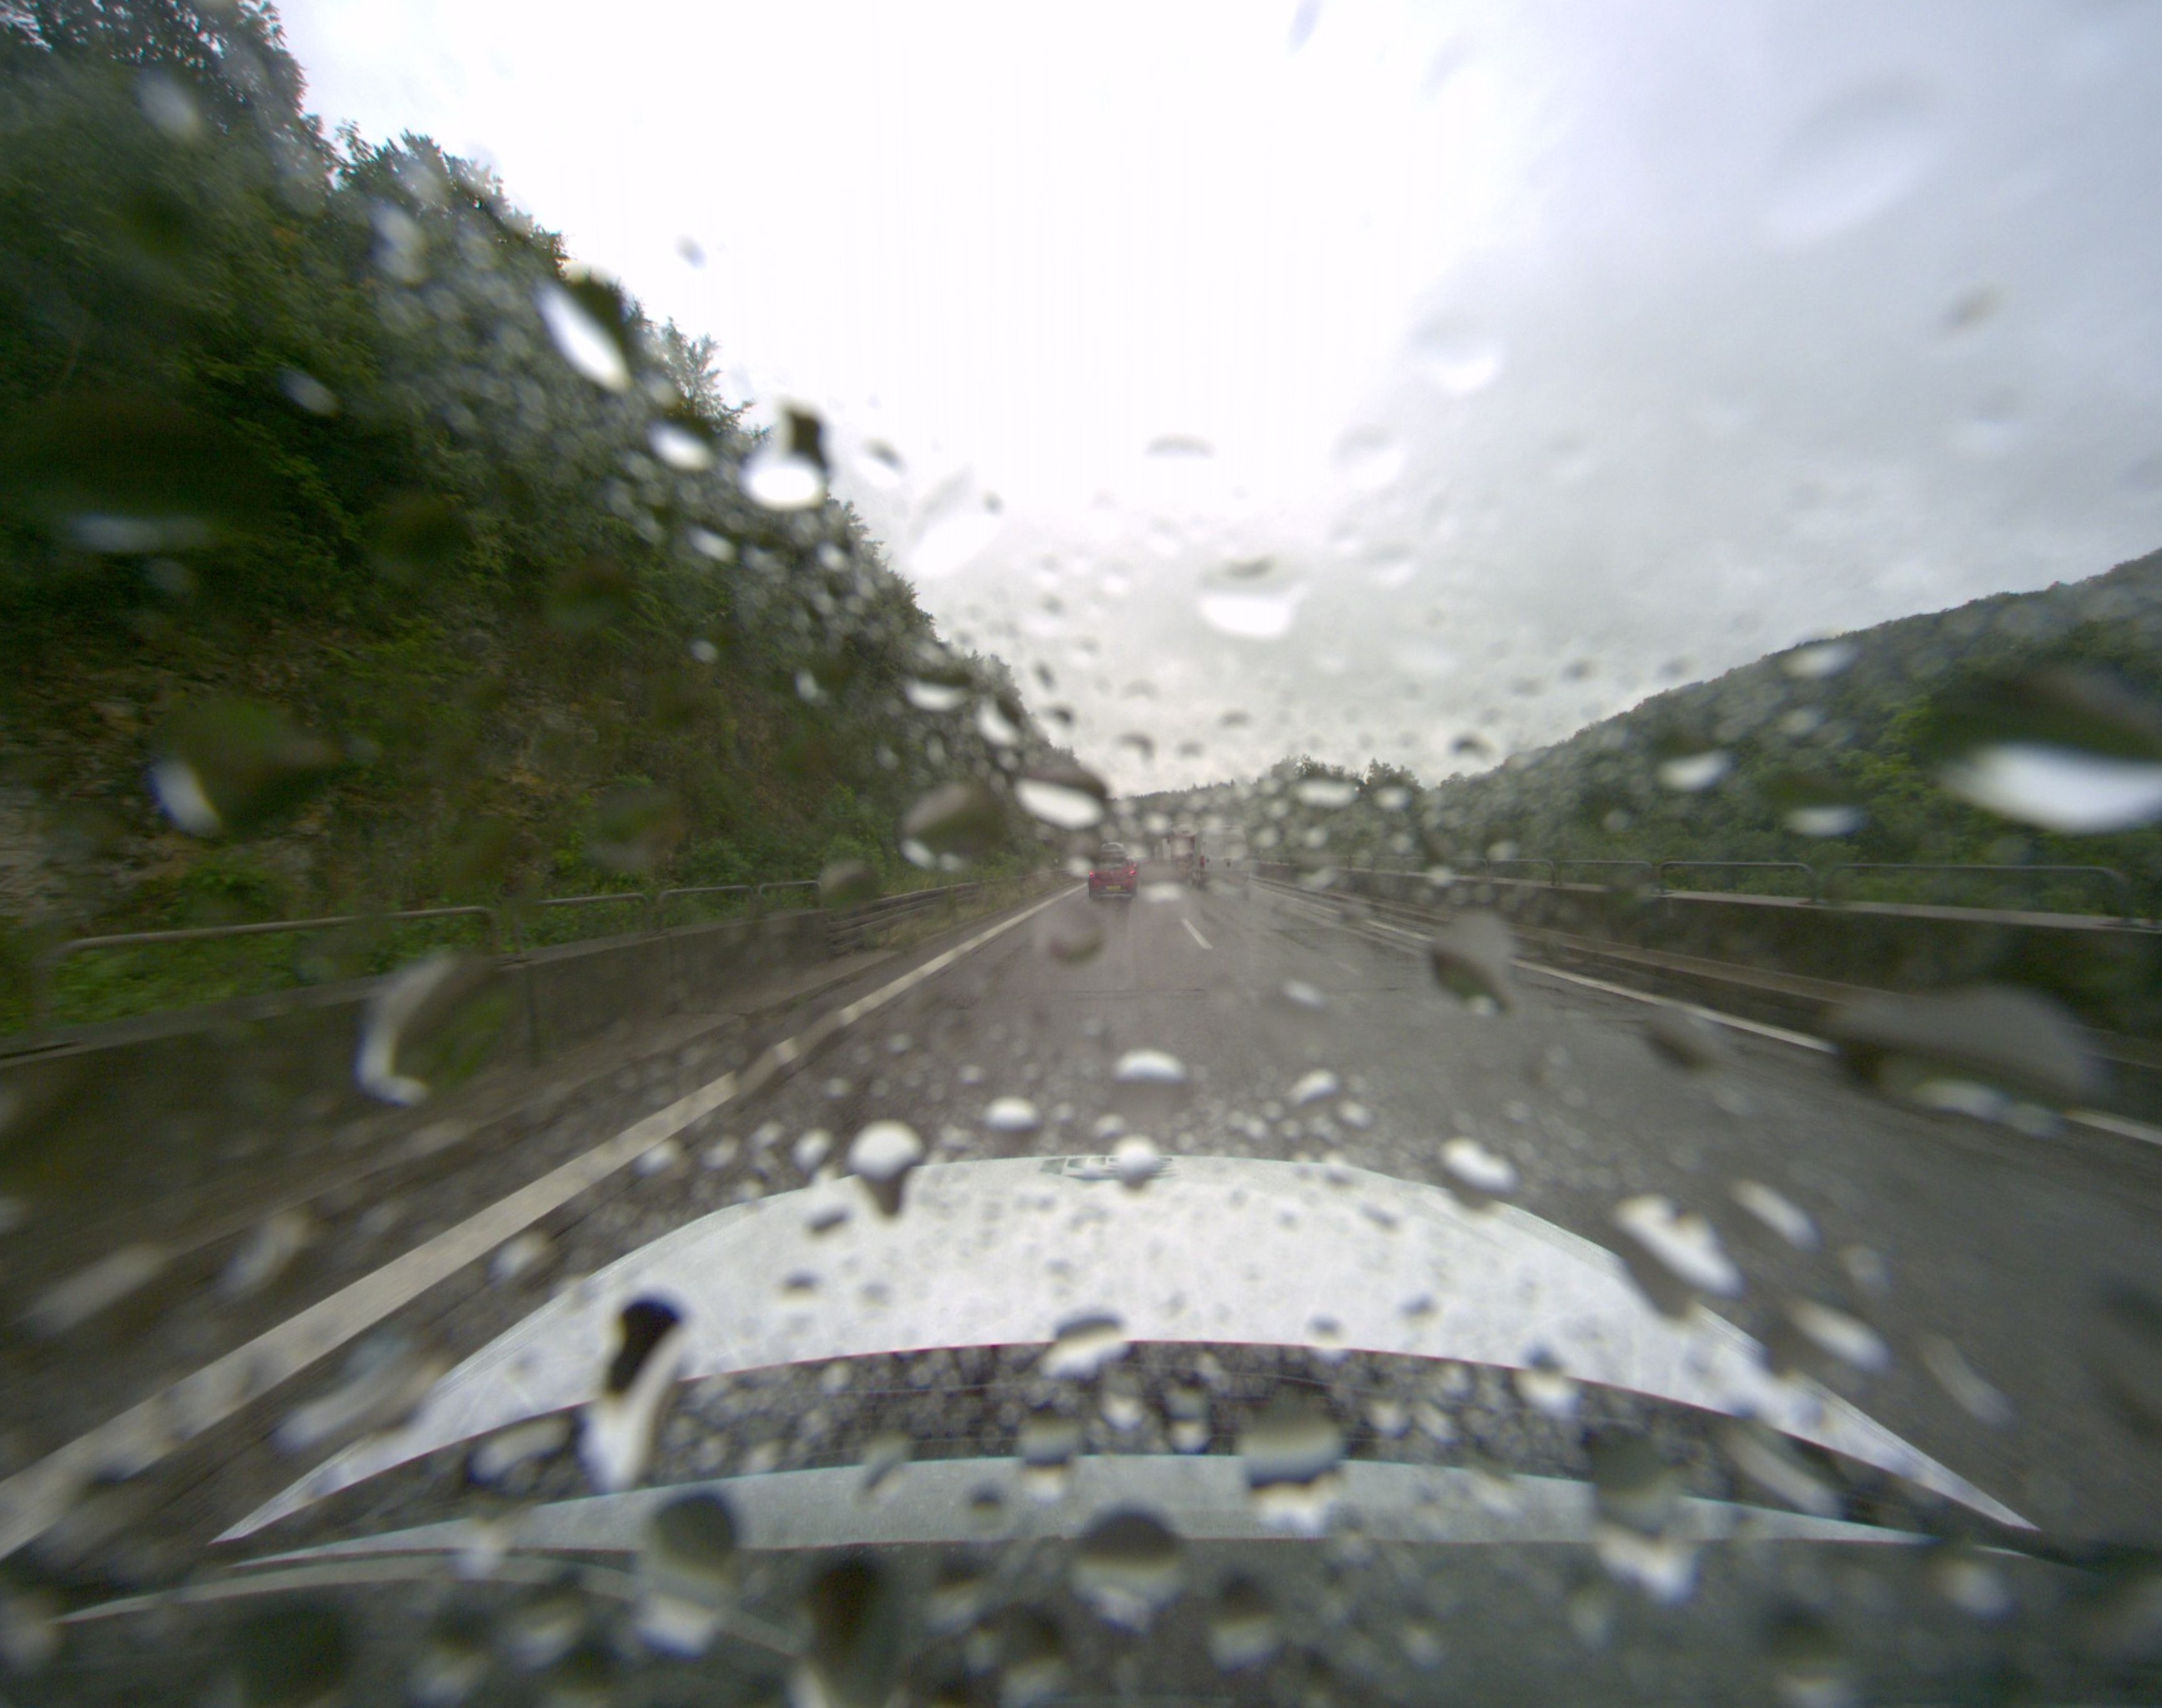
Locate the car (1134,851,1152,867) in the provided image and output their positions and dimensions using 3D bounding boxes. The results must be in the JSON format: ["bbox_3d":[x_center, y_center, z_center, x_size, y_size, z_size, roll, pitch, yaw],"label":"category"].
[{"bbox_3d":[6.998,0.561,91.771,1.867,1.706,3.892,-5,-1,3],"label":"car"}]

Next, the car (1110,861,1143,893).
[{"bbox_3d":[2.756,1.371,49.776,1.825,1.715,3.647,-5,-1,2],"label":"car"}]

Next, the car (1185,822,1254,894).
[{"bbox_3d":[5.938,0.169,35.826,2.196,2.794,7.390,-2,0,4],"label":"car"}]

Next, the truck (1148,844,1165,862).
[{"bbox_3d":[14.522,-0.250,156.389,3.048,3.312,8.079,-1,0,4],"label":"truck"}]

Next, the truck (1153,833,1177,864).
[{"bbox_3d":[12.246,-0.716,119.381,2.676,4.094,9.322,-5,-1,3],"label":"truck"}]

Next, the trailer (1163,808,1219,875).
[{"bbox_3d":[7.468,-0.761,56.796,3.202,3.998,13.546,-3,0,6],"label":"trailer"}]

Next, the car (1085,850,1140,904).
[{"bbox_3d":[1.176,0.798,29.912,1.751,1.684,4.003,-5,-1,3],"label":"car"}]

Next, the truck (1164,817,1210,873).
[{"bbox_3d":[8.160,-0.685,63.223,3.203,3.978,5.448,-3,0,6],"label":"truck"}]
